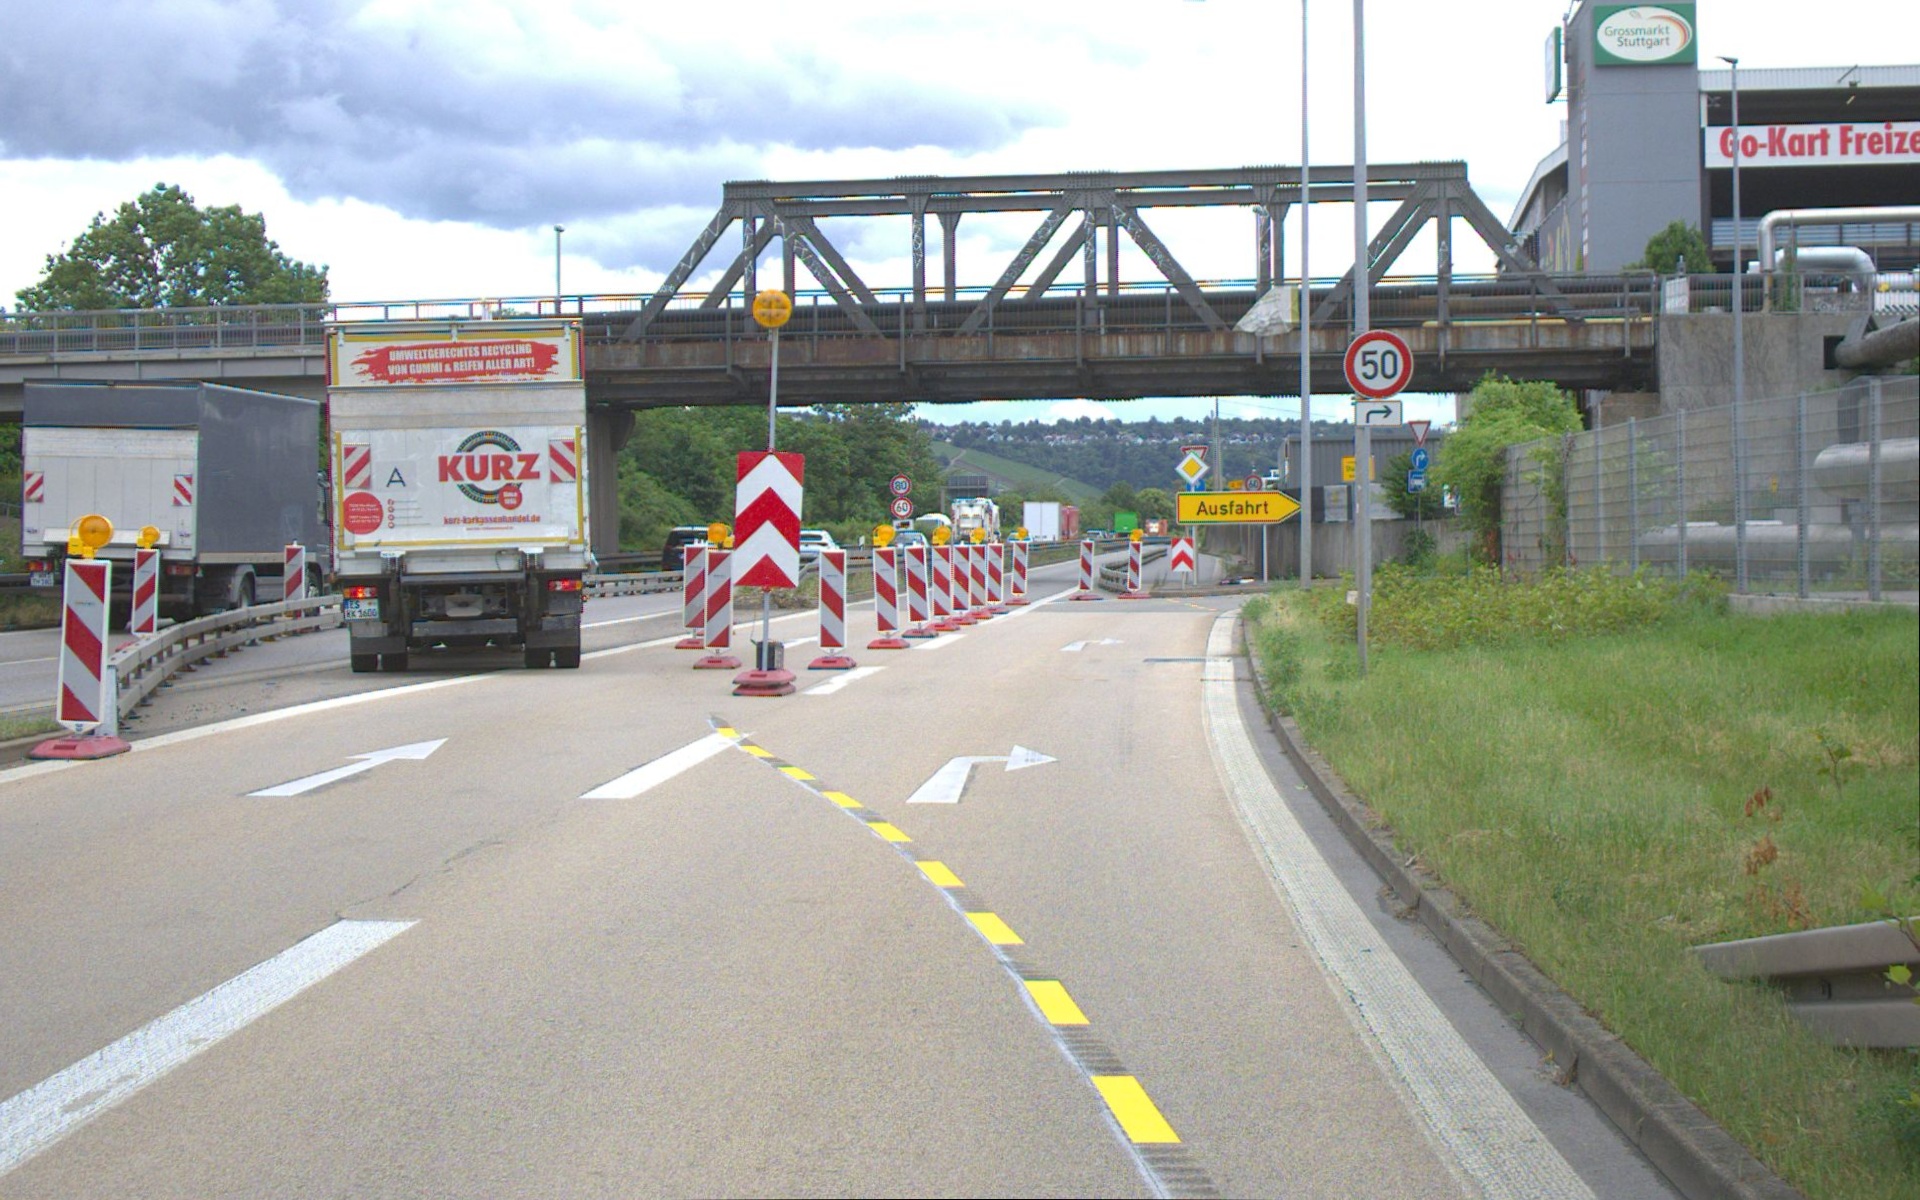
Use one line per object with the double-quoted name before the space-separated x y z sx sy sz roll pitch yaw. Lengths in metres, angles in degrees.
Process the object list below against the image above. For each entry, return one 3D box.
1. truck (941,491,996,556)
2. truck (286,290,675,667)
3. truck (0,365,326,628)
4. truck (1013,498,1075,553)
"truck" 0.561 -4.679 211.376 3.286 3.839 7.664 0 0 1
"truck" -5.004 -1.165 37.477 3.051 3.661 7.927 0 0 1
"truck" -11.802 -1.461 51.524 3.051 3.644 7.395 0 0 1
"truck" 5.629 -4.965 231.491 3.908 3.537 8.141 0 0 -1
